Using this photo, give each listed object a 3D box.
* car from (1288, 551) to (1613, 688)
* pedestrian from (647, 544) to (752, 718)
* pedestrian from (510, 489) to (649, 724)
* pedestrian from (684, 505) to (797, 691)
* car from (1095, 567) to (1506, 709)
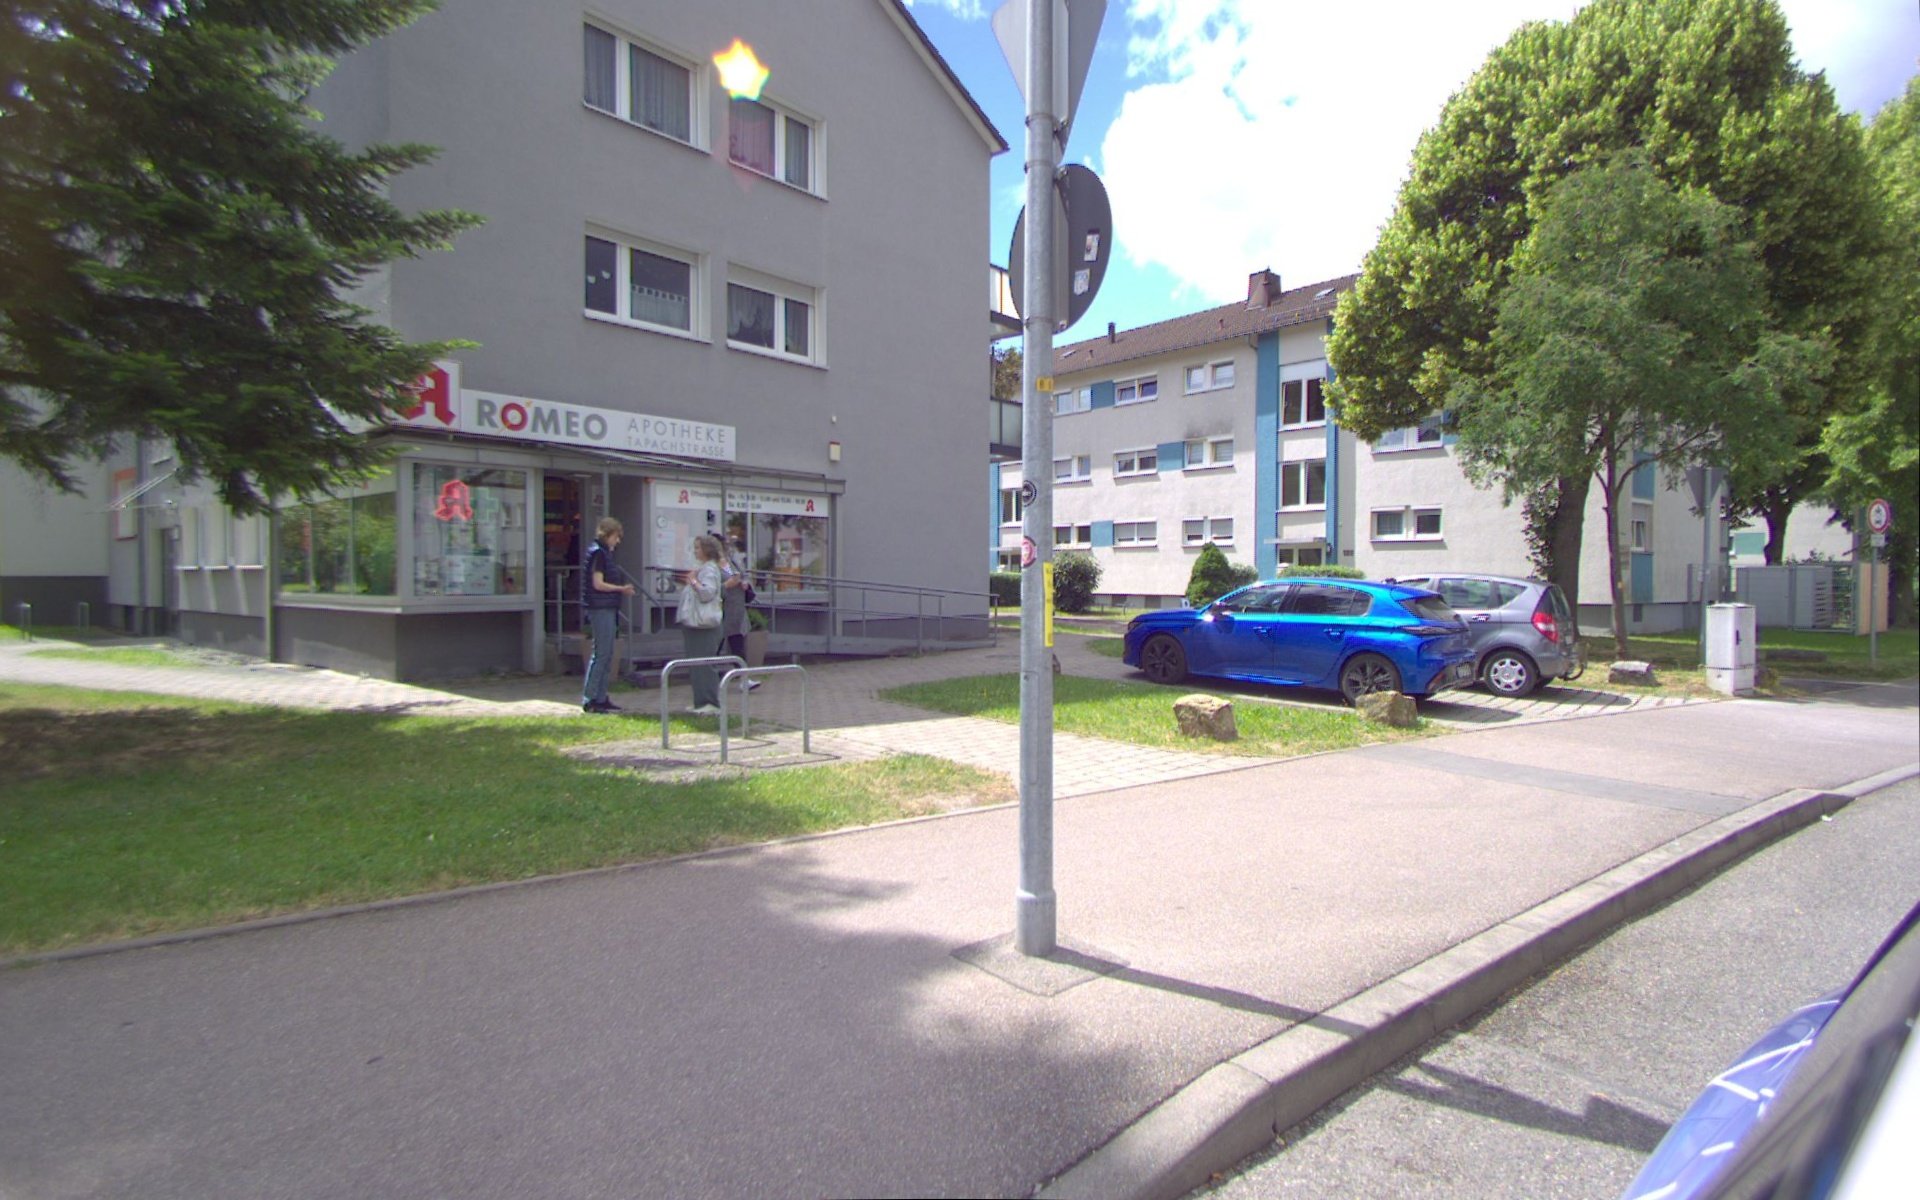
[{"bbox_3d":[6.946,0.165,14.505,3.729,1.575,2.001,5,4,43],"label":"car"},{"bbox_3d":[-2.457,0.259,9.539,0.742,1.548,0.680,2,2,45],"label":"pedestrian"},{"bbox_3d":[-3.521,0.037,9.389,0.653,2.038,1.031,2,2,41],"label":"pedestrian"},{"bbox_3d":[-2.466,-0.044,11.421,0.836,1.980,0.931,2,2,34],"label":"pedestrian"},{"bbox_3d":[4.133,0.332,12.750,4.481,1.258,1.971,5,4,41],"label":"car"}]
